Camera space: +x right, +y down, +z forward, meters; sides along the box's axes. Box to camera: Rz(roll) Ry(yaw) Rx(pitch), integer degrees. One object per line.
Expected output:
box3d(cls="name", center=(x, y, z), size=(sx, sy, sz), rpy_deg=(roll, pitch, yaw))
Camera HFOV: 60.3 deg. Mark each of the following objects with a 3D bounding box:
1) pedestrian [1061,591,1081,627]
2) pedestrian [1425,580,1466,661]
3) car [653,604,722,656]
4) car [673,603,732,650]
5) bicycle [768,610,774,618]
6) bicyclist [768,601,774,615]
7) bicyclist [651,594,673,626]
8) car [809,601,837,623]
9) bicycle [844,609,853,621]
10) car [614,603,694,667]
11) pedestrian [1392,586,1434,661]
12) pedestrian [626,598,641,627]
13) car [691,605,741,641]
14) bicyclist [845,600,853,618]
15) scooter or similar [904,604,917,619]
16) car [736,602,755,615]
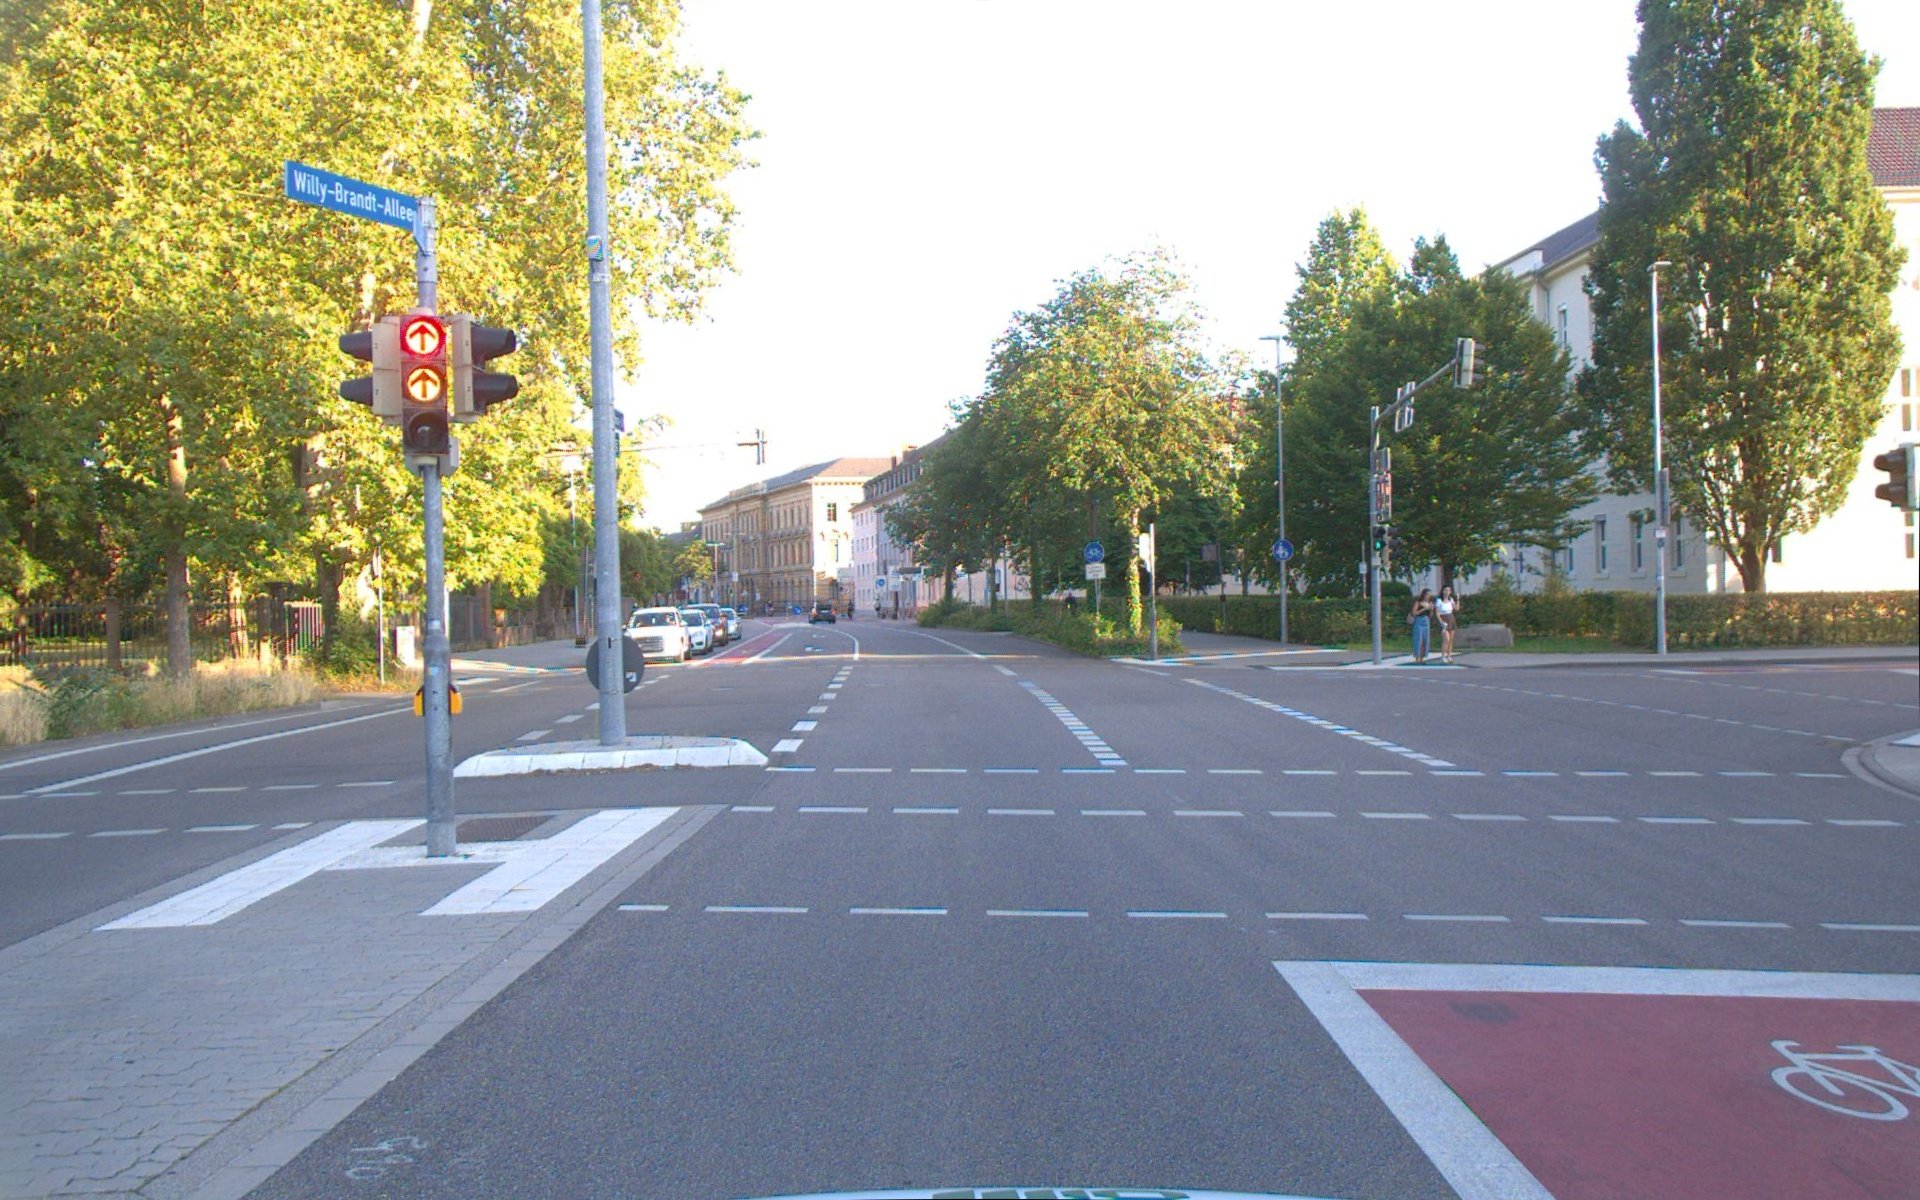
box3d(cls="pedestrian", center=(5.519, 0.442, 82.381), size=(0.756, 1.769, 0.805), rpy_deg=(-1, 0, -10))
box3d(cls="pedestrian", center=(10.862, 0.442, 37.036), size=(0.667, 1.784, 0.688), rpy_deg=(-1, 0, -1))
box3d(cls="car", center=(-9.359, 0.991, 57.070), size=(1.879, 1.611, 4.669), rpy_deg=(-3, 0, -5))
box3d(cls="car", center=(-10.148, 1.018, 65.476), size=(1.879, 1.653, 4.634), rpy_deg=(-3, 0, -5))
box3d(cls="bicycle", center=(-22.687, 1.669, 198.503), size=(0.640, 1.033, 2.193), rpy_deg=(1, 0, -9))
box3d(cls="bicyclist", center=(-22.676, 0.980, 198.506), size=(0.640, 1.727, 0.955), rpy_deg=(1, -1, -10))
box3d(cls="bicyclist", center=(-13.685, 0.444, 75.907), size=(0.838, 1.456, 0.943), rpy_deg=(-1, 0, -1))
box3d(cls="car", center=(-9.817, 0.892, 118.789), size=(1.830, 1.536, 3.998), rpy_deg=(-1, 0, -3))
box3d(cls="bicycle", center=(-9.249, 1.234, 137.357), size=(0.639, 1.033, 2.195), rpy_deg=(1, 0, -5))
box3d(cls="car", center=(-9.231, 1.025, 50.196), size=(1.879, 1.725, 4.422), rpy_deg=(-3, 0, -5))
box3d(cls="pedestrian", center=(10.151, 0.514, 37.043), size=(0.667, 1.650, 0.845), rpy_deg=(-1, 0, -1))
box3d(cls="pedestrian", center=(-18.541, 0.711, 93.914), size=(0.667, 1.650, 0.688), rpy_deg=(-1, 0, -1))
box3d(cls="car", center=(-10.991, 1.007, 74.805), size=(1.879, 1.442, 4.765), rpy_deg=(-3, 0, -5))
box3d(cls="bicyclist", center=(-9.244, 0.740, 137.358), size=(0.639, 1.501, 0.940), rpy_deg=(1, 0, -5))
box3d(cls="scooter or similar", center=(-4.384, 1.013, 145.264), size=(0.619, 1.360, 2.391), rpy_deg=(-1, 0, -14))
box3d(cls="car", center=(-26.012, 1.060, 200.443), size=(1.882, 1.442, 4.757), rpy_deg=(-3, 0, -11))
